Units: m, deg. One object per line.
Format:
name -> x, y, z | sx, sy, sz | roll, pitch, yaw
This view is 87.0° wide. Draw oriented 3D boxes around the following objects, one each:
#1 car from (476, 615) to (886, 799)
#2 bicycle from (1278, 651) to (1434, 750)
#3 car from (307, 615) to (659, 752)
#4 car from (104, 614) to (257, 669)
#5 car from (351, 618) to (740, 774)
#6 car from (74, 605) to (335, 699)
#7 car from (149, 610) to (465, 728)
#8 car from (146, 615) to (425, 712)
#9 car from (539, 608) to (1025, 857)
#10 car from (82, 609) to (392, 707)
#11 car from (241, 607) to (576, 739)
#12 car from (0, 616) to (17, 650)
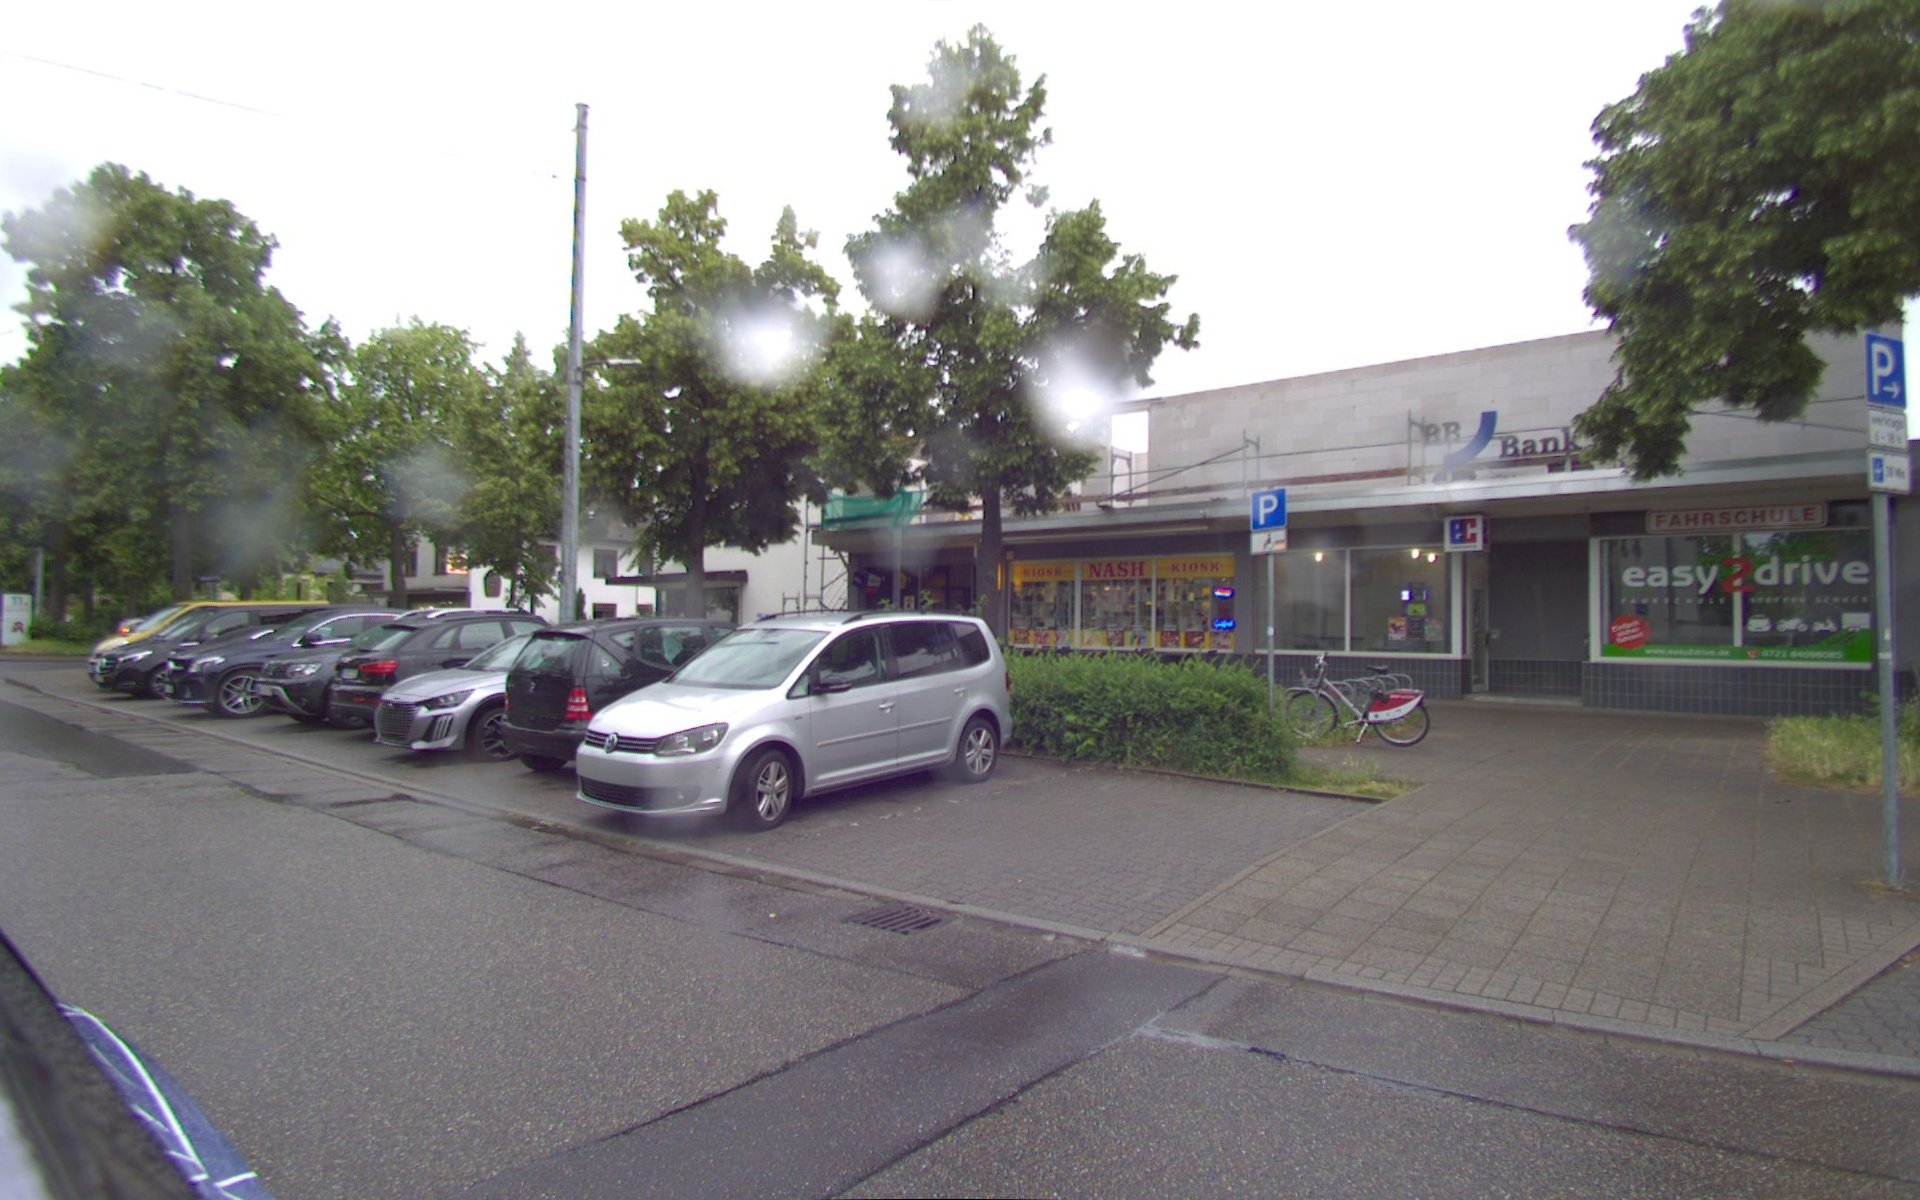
car -> -2.838, 0.976, 11.148 | 1.633, 1.577, 4.231 | -1, 0, 38
bicycle -> 4.810, 1.199, 12.345 | 1.739, 1.115, 0.316 | -1, 0, 25
car -> -6.564, 1.031, 14.353 | 1.713, 1.607, 4.231 | -1, -1, 38
car -> -26.941, 1.387, 35.052 | 1.840, 1.700, 3.945 | -1, 0, 42
car -> -4.946, 1.025, 12.613 | 1.713, 1.544, 4.231 | -1, -1, 38
car -> -17.436, 1.109, 23.574 | 1.713, 1.973, 4.600 | -1, -1, 38
car -> -10.977, 1.050, 17.290 | 1.713, 1.740, 4.231 | -1, -1, 38
car -> -12.995, 1.136, 19.747 | 1.713, 1.639, 4.231 | -1, -1, 38
car -> -1.314, 0.910, 9.007 | 1.713, 1.647, 4.231 | -1, -1, 38
car -> -15.144, 1.117, 21.519 | 1.713, 1.813, 5.114 | -1, -1, 38
car -> -8.339, 0.987, 15.648 | 1.713, 1.740, 4.231 | -1, -1, 38
car -> -49.733, 1.671, 50.260 | 1.997, 1.698, 3.950 | -1, 0, 37
